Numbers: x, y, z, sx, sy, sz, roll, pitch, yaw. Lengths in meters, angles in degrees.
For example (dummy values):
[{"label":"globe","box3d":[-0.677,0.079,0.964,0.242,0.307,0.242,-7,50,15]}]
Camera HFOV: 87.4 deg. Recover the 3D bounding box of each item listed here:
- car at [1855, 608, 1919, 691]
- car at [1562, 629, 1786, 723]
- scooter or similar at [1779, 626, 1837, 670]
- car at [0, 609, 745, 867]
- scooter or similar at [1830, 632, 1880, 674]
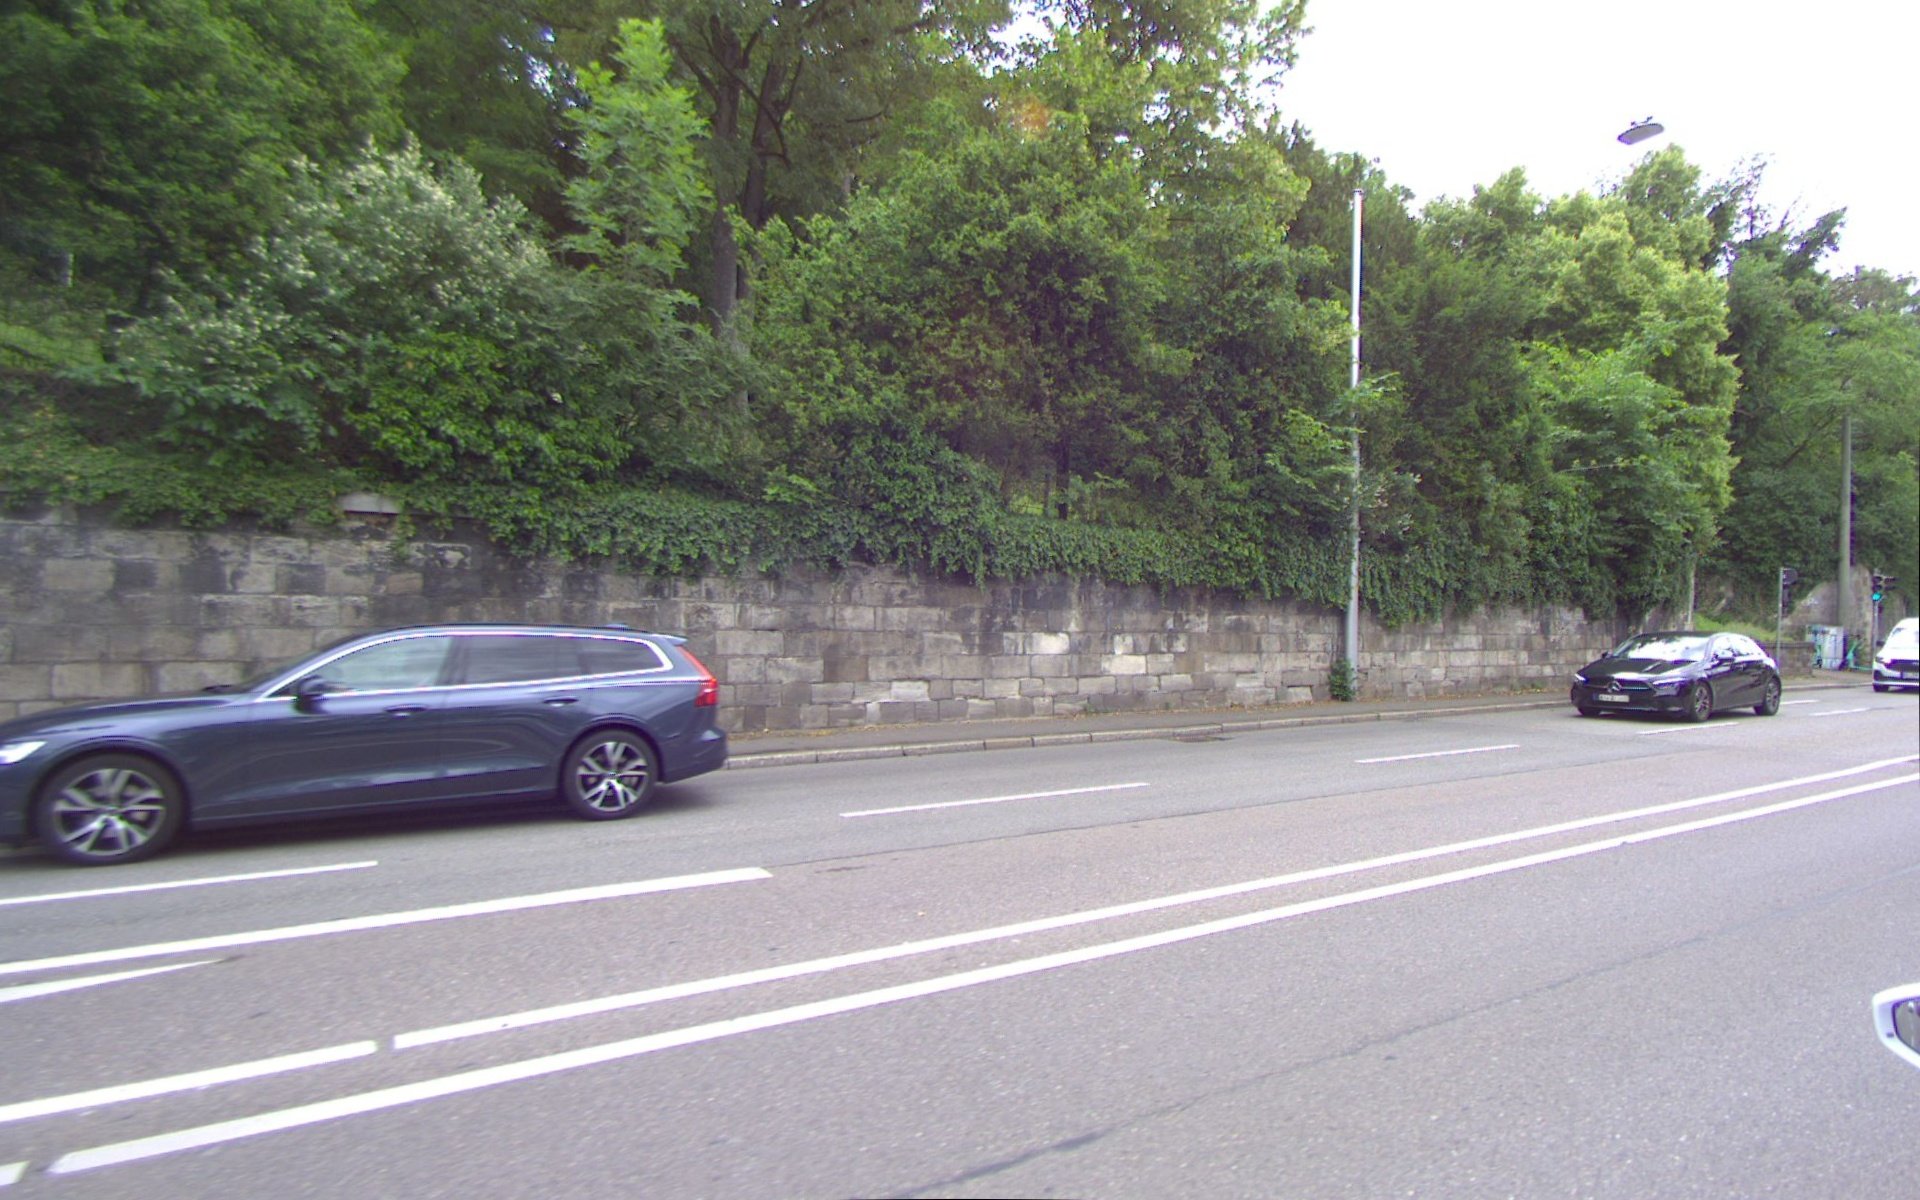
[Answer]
[{"label":"car","box3d":[23.986,1.254,24.762,4.353,1.873,1.880,2,1,-35]},{"label":"car","box3d":[12.073,1.230,16.912,4.206,1.420,1.554,2,-3,-32]},{"label":"scooter or similar","box3d":[28.164,1.591,33.378,1.324,1.253,0.434,8,3,2]},{"label":"car","box3d":[-4.006,0.850,7.403,4.403,1.427,1.835,2,-3,-30]},{"label":"scooter or similar","box3d":[29.603,1.749,33.235,1.076,1.254,0.434,4,2,9]}]
